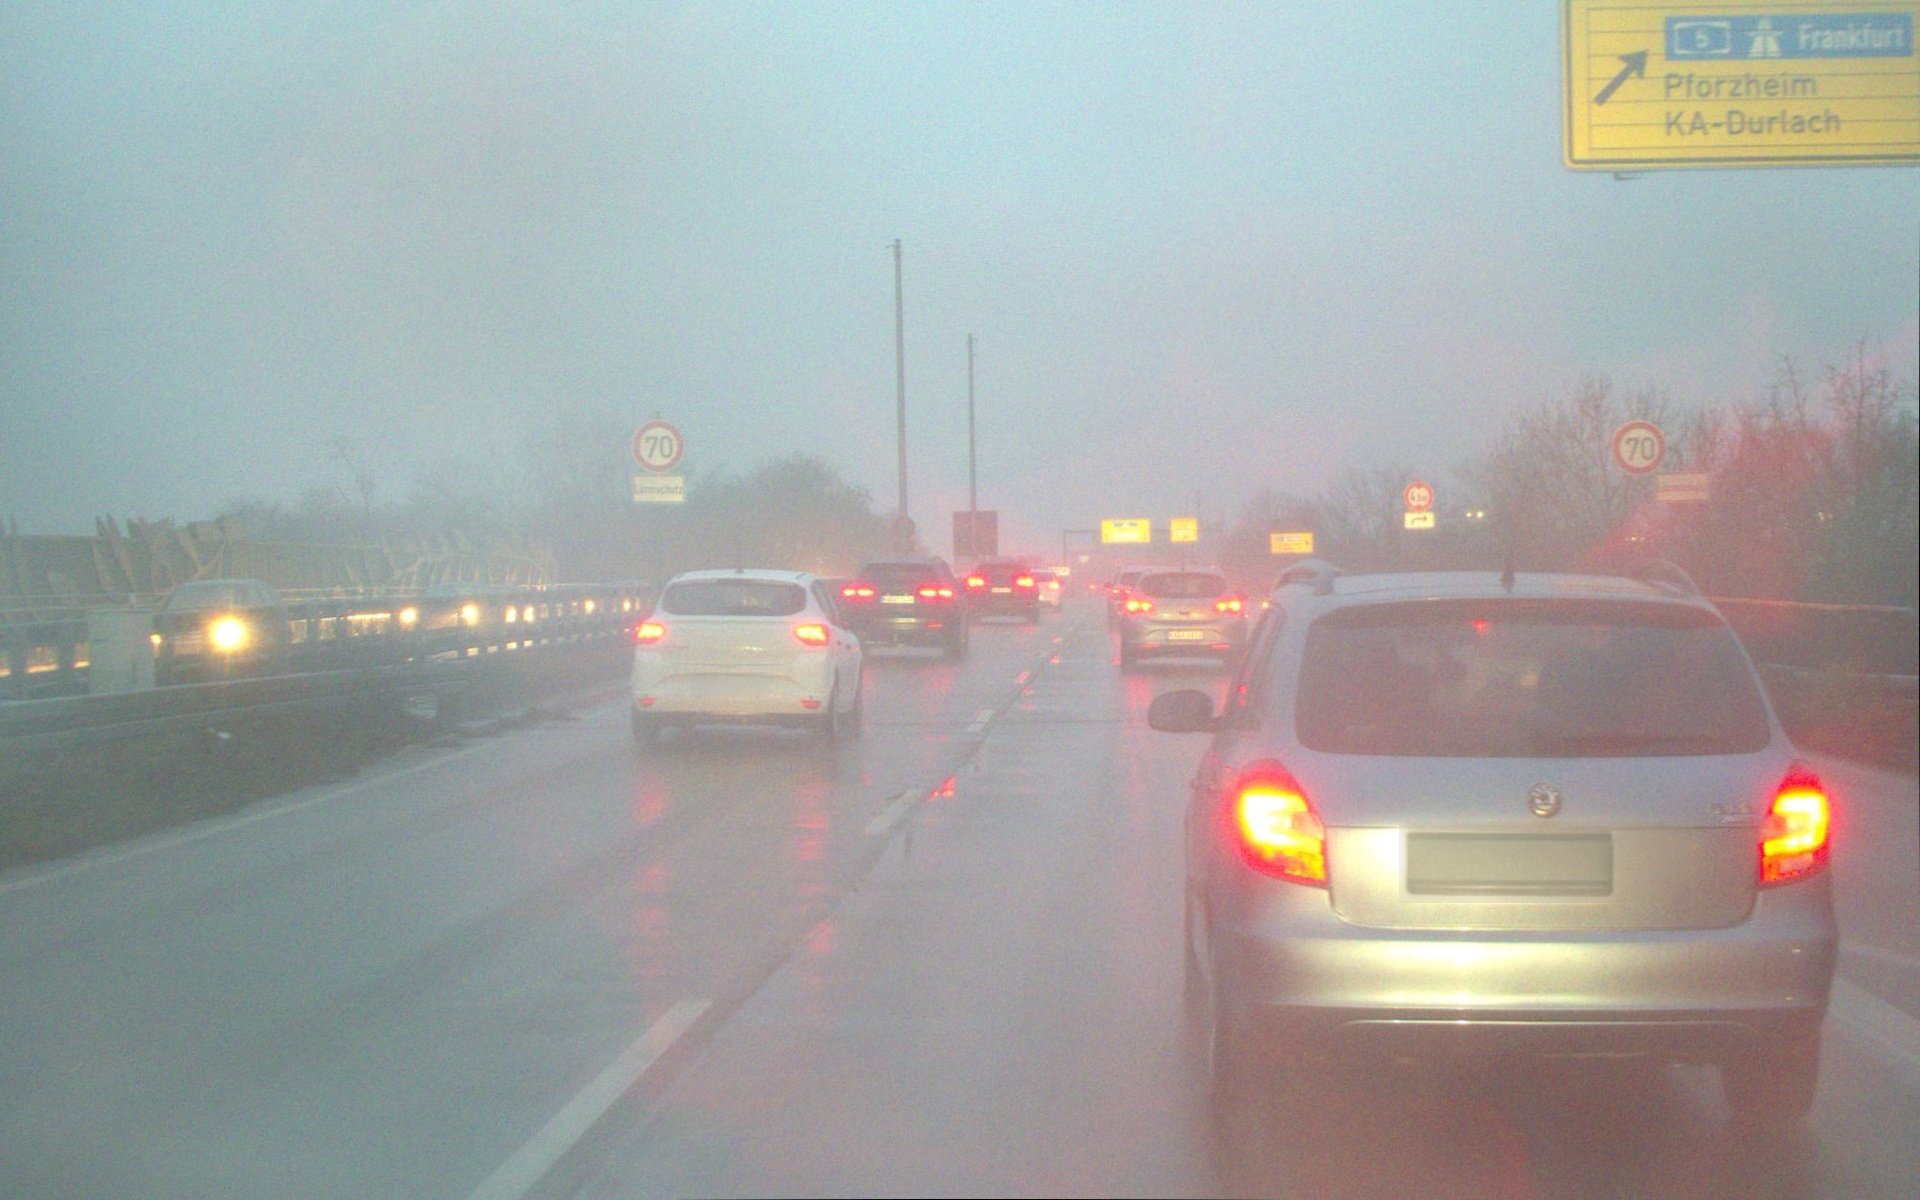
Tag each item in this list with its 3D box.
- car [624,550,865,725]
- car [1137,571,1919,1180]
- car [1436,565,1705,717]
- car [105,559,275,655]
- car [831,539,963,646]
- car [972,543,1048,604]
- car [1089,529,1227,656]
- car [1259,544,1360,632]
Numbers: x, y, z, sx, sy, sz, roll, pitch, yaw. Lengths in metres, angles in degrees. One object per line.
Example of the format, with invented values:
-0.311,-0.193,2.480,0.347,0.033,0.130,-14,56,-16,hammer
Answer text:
-1.852,0.278,30.638,1.724,1.435,4.225,0,1,2,car
1.561,0.672,10.618,1.994,1.495,4.137,-1,0,3,car
5.824,0.355,33.235,1.993,1.341,4.000,0,1,2,car
-13.185,0.088,59.113,1.786,1.559,4.851,0,1,1,car
-0.981,-0.149,54.674,1.993,1.596,4.309,1,1,0,car
1.319,-0.705,90.091,1.789,1.540,4.000,0,1,4,car
2.834,-0.138,49.851,1.897,1.761,4.308,0,1,2,car
6.465,-0.246,63.618,1.790,1.540,3.999,-1,1,6,car
